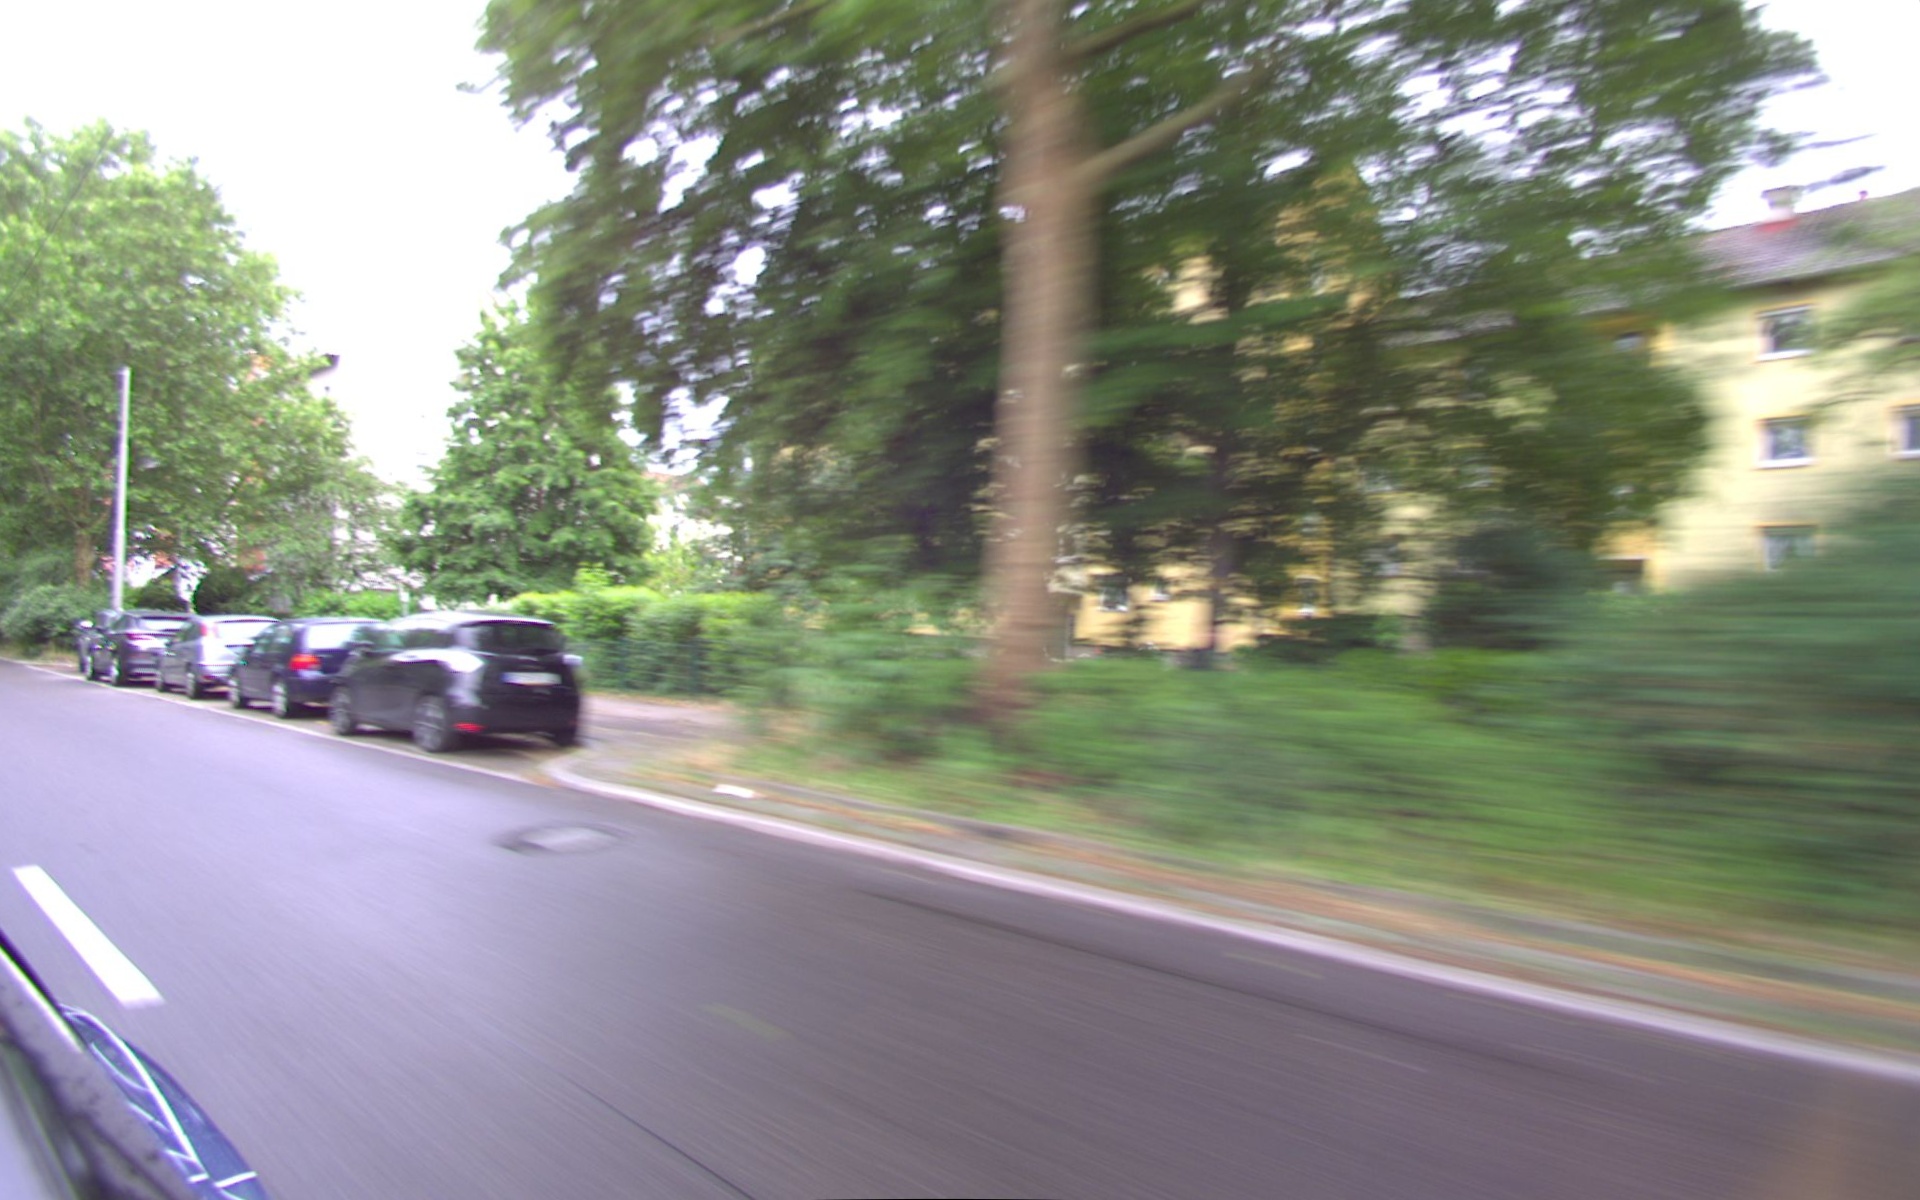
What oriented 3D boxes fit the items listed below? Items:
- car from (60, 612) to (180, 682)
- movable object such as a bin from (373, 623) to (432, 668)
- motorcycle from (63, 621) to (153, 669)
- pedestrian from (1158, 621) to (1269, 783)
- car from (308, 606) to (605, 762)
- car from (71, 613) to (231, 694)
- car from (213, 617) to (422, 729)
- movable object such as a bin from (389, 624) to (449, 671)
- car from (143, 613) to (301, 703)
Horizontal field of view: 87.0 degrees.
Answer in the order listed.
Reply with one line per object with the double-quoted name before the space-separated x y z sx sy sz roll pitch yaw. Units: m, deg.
"car" -22.372 1.238 26.893 4.563 1.670 1.715 -2 -6 42
"movable object such as a bin" -17.720 1.421 32.165 1.480 1.390 1.222 -1 -2 44
"motorcycle" -24.808 1.324 29.481 0.782 1.325 1.821 -1 -5 40
"pedestrian" 2.765 1.076 11.065 1.021 1.631 0.581 1 2 43
"car" -6.075 0.923 12.031 4.016 1.549 1.631 -1 -5 41
"car" -17.839 1.145 22.259 4.235 1.603 1.846 -1 -4 40
"car" -10.017 1.060 15.675 3.872 1.519 1.654 -1 -4 42
"movable object such as a bin" -16.636 1.427 31.115 1.480 1.390 1.222 -1 -2 44
"car" -14.109 1.014 19.260 4.123 1.519 1.654 -1 0 43
